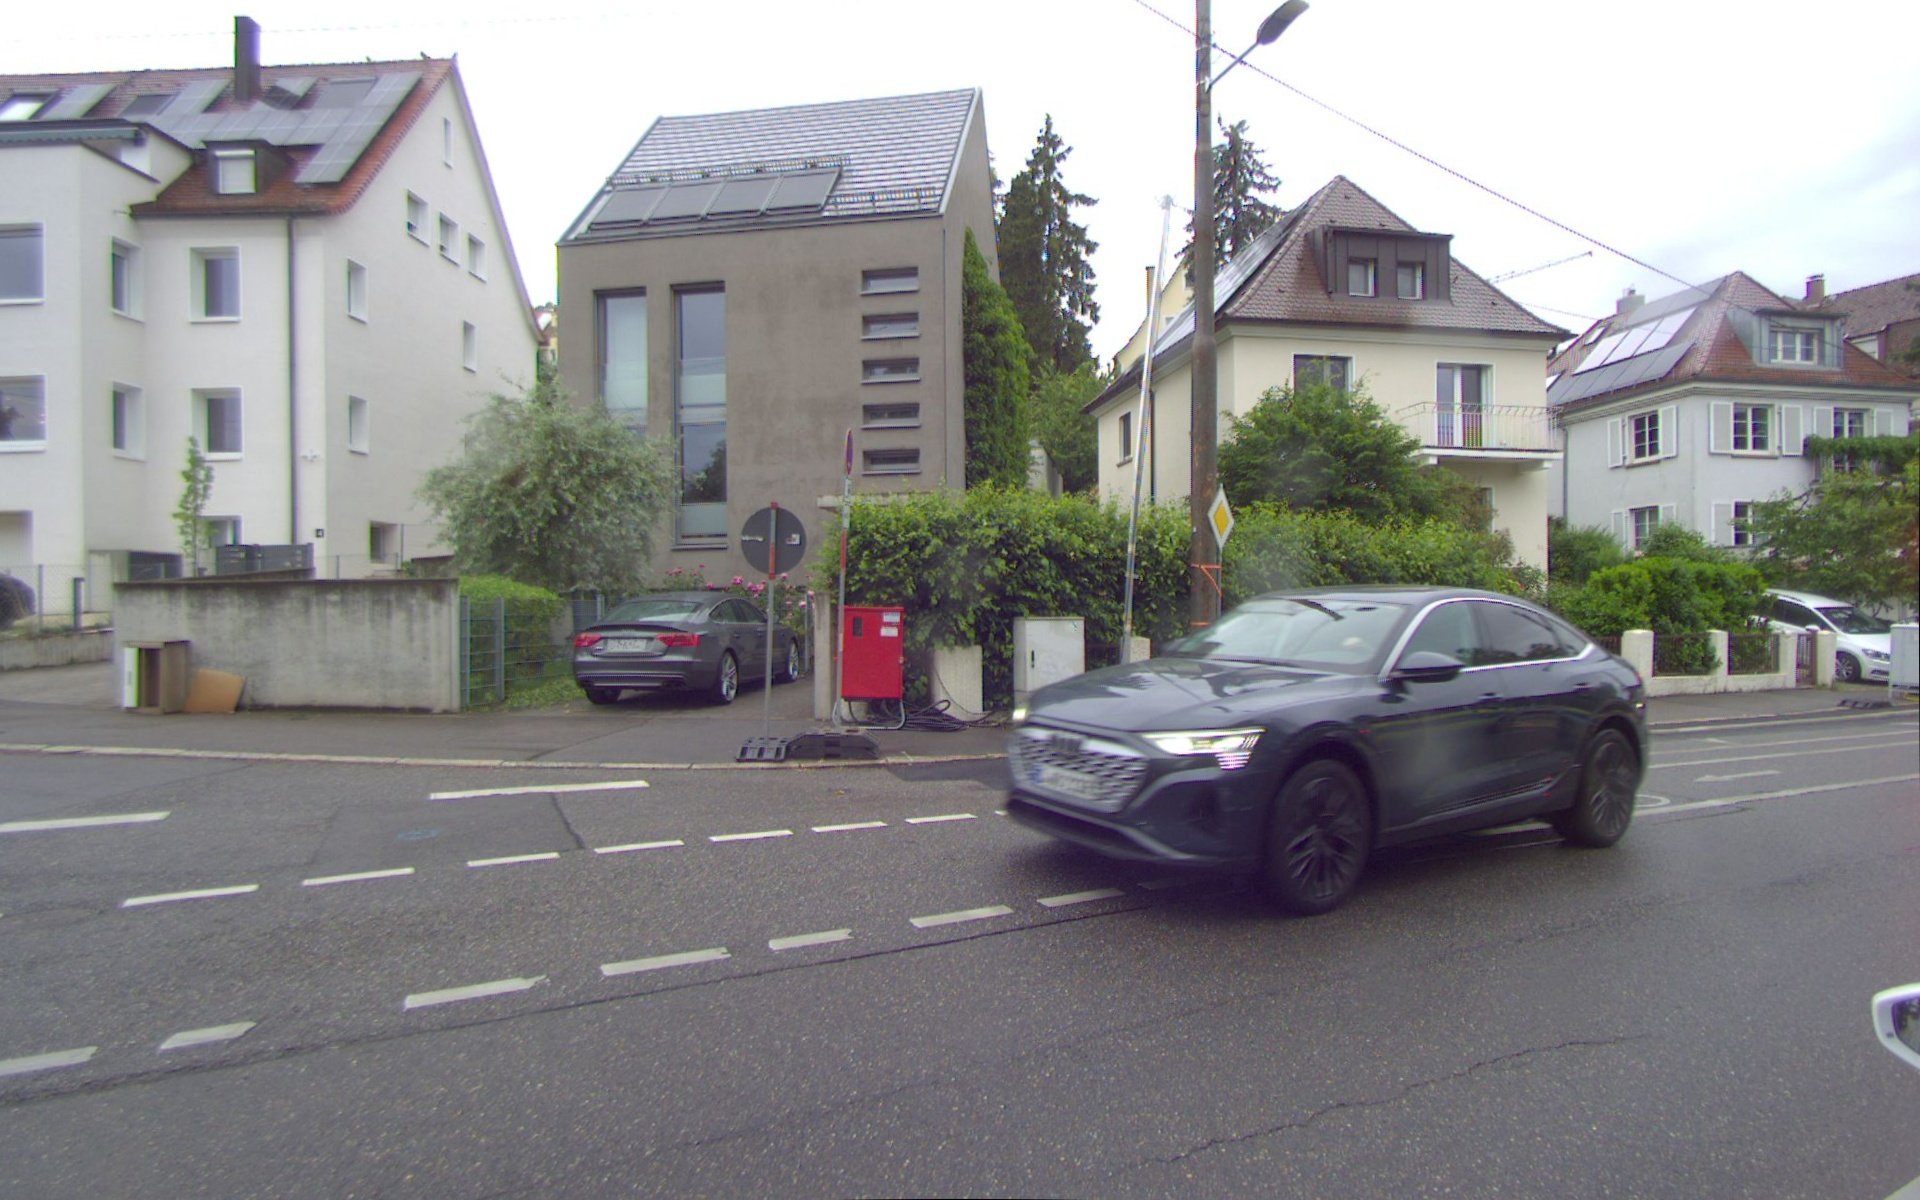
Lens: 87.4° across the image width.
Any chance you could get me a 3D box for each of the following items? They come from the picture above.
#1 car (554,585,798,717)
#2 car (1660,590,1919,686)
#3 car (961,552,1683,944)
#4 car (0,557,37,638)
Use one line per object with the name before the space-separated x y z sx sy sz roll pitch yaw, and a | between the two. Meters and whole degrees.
car | -3.607 0.558 13.580 1.740 1.506 4.002 0 1 7
car | 19.597 0.812 23.916 1.870 2.033 4.628 1 0 -18
car | 2.487 0.678 6.459 4.638 1.696 1.982 1 0 -33
car | -16.731 0.045 15.173 1.576 1.298 4.008 2 4 6
